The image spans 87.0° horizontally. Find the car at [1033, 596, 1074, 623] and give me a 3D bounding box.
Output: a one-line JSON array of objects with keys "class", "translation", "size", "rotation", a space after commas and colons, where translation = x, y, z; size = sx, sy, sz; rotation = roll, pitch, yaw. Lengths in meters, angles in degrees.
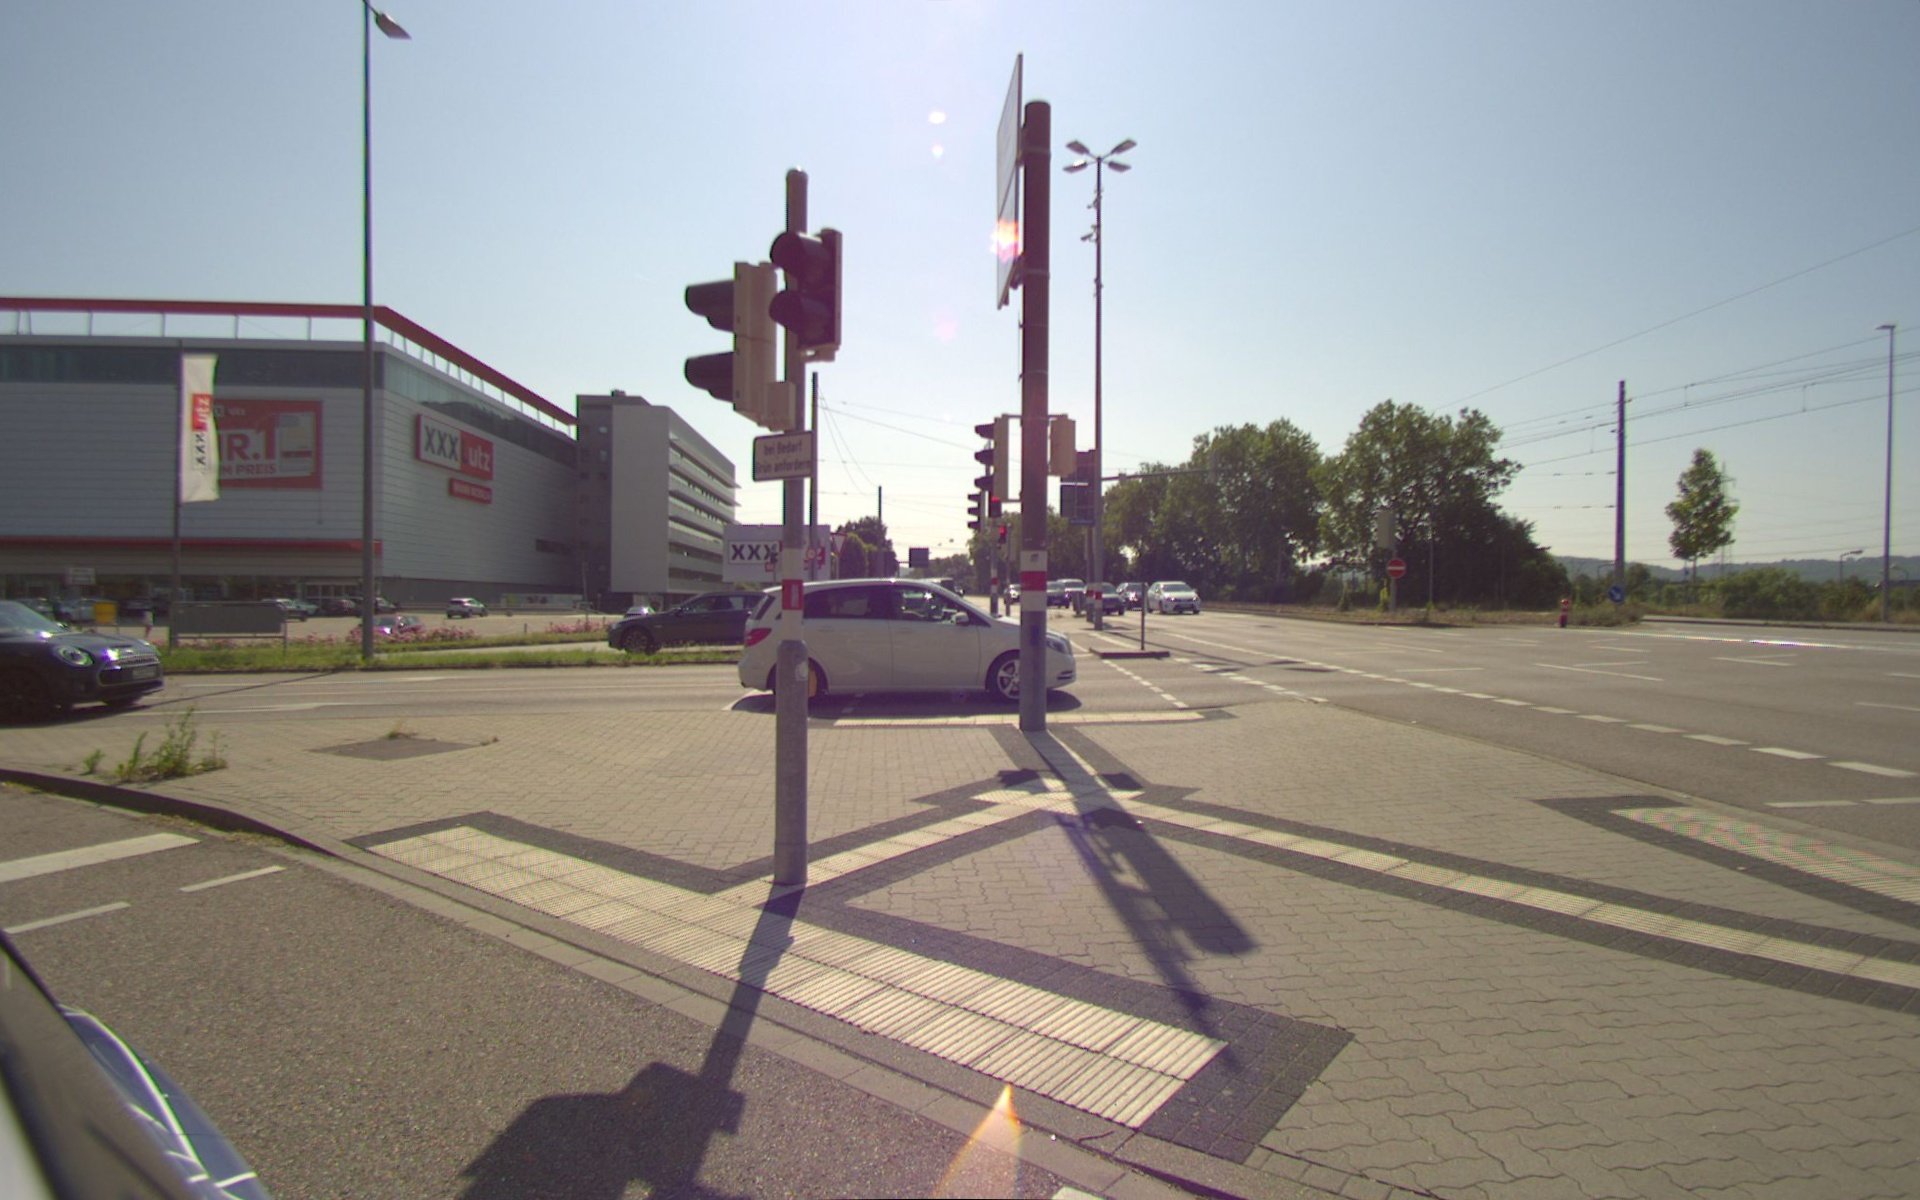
[{"class": "car", "translation": [5.610, 0.551, 61.093], "size": [1.735, 1.532, 4.005], "rotation": [-1, 0, -5]}]

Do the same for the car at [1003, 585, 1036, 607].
[{"class": "car", "translation": [4.363, -0.315, 74.569], "size": [1.879, 1.584, 3.841], "rotation": [1, 0, -5]}]

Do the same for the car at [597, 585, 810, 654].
[{"class": "car", "translation": [-6.097, 0.440, 24.580], "size": [4.740, 1.514, 2.068], "rotation": [-1, 0, -5]}]

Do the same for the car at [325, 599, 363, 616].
[{"class": "car", "translation": [-51.506, 0.649, 84.599], "size": [1.492, 1.340, 3.101], "rotation": [1, 0, -5]}]

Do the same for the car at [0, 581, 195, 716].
[{"class": "car", "translation": [-12.181, 0.562, 12.438], "size": [4.137, 1.523, 1.745], "rotation": [-1, 2, -4]}]

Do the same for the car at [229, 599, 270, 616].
[{"class": "car", "translation": [-58.106, 0.607, 82.835], "size": [1.345, 1.276, 3.101], "rotation": [1, 0, -5]}]

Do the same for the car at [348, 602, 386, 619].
[{"class": "car", "translation": [-49.260, 0.834, 84.129], "size": [1.492, 1.340, 3.101], "rotation": [1, 0, -5]}]

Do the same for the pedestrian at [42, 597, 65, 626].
[{"class": "pedestrian", "translation": [-58.478, 0.741, 65.304], "size": [0.740, 1.871, 0.857], "rotation": [0, -1, -4]}]

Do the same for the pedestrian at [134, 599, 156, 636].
[{"class": "pedestrian", "translation": [-43.266, 0.923, 53.731], "size": [0.496, 1.909, 0.776], "rotation": [-1, -1, 26]}]

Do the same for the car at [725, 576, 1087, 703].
[{"class": "car", "translation": [-0.697, 0.449, 12.980], "size": [4.322, 1.459, 1.749], "rotation": [-1, 1, -5]}]

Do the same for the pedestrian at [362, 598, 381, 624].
[{"class": "pedestrian", "translation": [-45.666, 0.863, 78.497], "size": [0.961, 2.029, 0.950], "rotation": [0, -1, -3]}]

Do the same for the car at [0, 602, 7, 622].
[{"class": "car", "translation": [-65.560, 0.820, 67.375], "size": [1.492, 1.340, 3.101], "rotation": [1, 0, -5]}]

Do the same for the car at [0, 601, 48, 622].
[{"class": "car", "translation": [-63.093, 0.762, 67.604], "size": [1.564, 1.340, 3.421], "rotation": [-1, 0, -8]}]

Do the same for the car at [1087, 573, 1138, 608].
[{"class": "car", "translation": [6.839, -0.417, 45.625], "size": [1.388, 1.511, 3.402], "rotation": [1, 0, -6]}]

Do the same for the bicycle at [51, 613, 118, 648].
[{"class": "bicycle", "translation": [-26.717, 0.931, 30.888], "size": [1.618, 1.030, 0.332], "rotation": [2, -1, -7]}]

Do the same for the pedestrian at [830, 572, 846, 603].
[{"class": "pedestrian", "translation": [-8.058, -0.835, 66.947], "size": [0.905, 1.987, 0.718], "rotation": [1, 0, 1]}]

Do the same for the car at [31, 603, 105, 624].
[{"class": "car", "translation": [-60.350, 0.883, 68.567], "size": [1.492, 1.340, 4.320], "rotation": [1, 0, -5]}]

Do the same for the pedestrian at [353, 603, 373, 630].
[{"class": "pedestrian", "translation": [-45.659, 1.239, 77.420], "size": [0.961, 2.029, 0.950], "rotation": [0, 0, -3]}]

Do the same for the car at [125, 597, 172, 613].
[{"class": "car", "translation": [-65.576, 0.416, 81.816], "size": [1.492, 1.234, 3.101], "rotation": [1, 0, -5]}]

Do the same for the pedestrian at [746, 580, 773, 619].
[{"class": "pedestrian", "translation": [-8.963, -0.013, 45.350], "size": [0.837, 1.720, 0.899], "rotation": [-1, -1, 22]}]

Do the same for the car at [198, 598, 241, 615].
[{"class": "car", "translation": [-61.035, 0.549, 83.439], "size": [1.492, 1.340, 3.101], "rotation": [1, 0, -5]}]

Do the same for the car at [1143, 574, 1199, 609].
[{"class": "car", "translation": [9.503, -0.390, 45.853], "size": [1.387, 1.511, 3.360], "rotation": [1, 0, -8]}]

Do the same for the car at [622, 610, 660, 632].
[{"class": "car", "translation": [-21.923, 1.416, 69.678], "size": [1.703, 1.340, 3.864], "rotation": [1, 0, -5]}]

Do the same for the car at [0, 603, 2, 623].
[{"class": "car", "translation": [-65.742, 0.884, 67.199], "size": [1.492, 1.340, 3.101], "rotation": [1, 0, -5]}]

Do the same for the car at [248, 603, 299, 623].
[{"class": "car", "translation": [-49.034, 0.947, 72.342], "size": [1.752, 1.340, 3.101], "rotation": [1, 0, -5]}]

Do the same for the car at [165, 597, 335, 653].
[{"class": "car", "translation": [-13.484, 0.469, 19.299], "size": [2.455, 1.012, 1.122], "rotation": [0, 0, -2]}]

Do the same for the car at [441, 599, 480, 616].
[{"class": "car", "translation": [-41.619, 0.642, 84.407], "size": [1.725, 1.340, 3.679], "rotation": [1, 0, -5]}]

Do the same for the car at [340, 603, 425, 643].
[{"class": "car", "translation": [-25.153, 0.971, 44.242], "size": [1.797, 1.617, 4.205], "rotation": [1, 0, -9]}]
